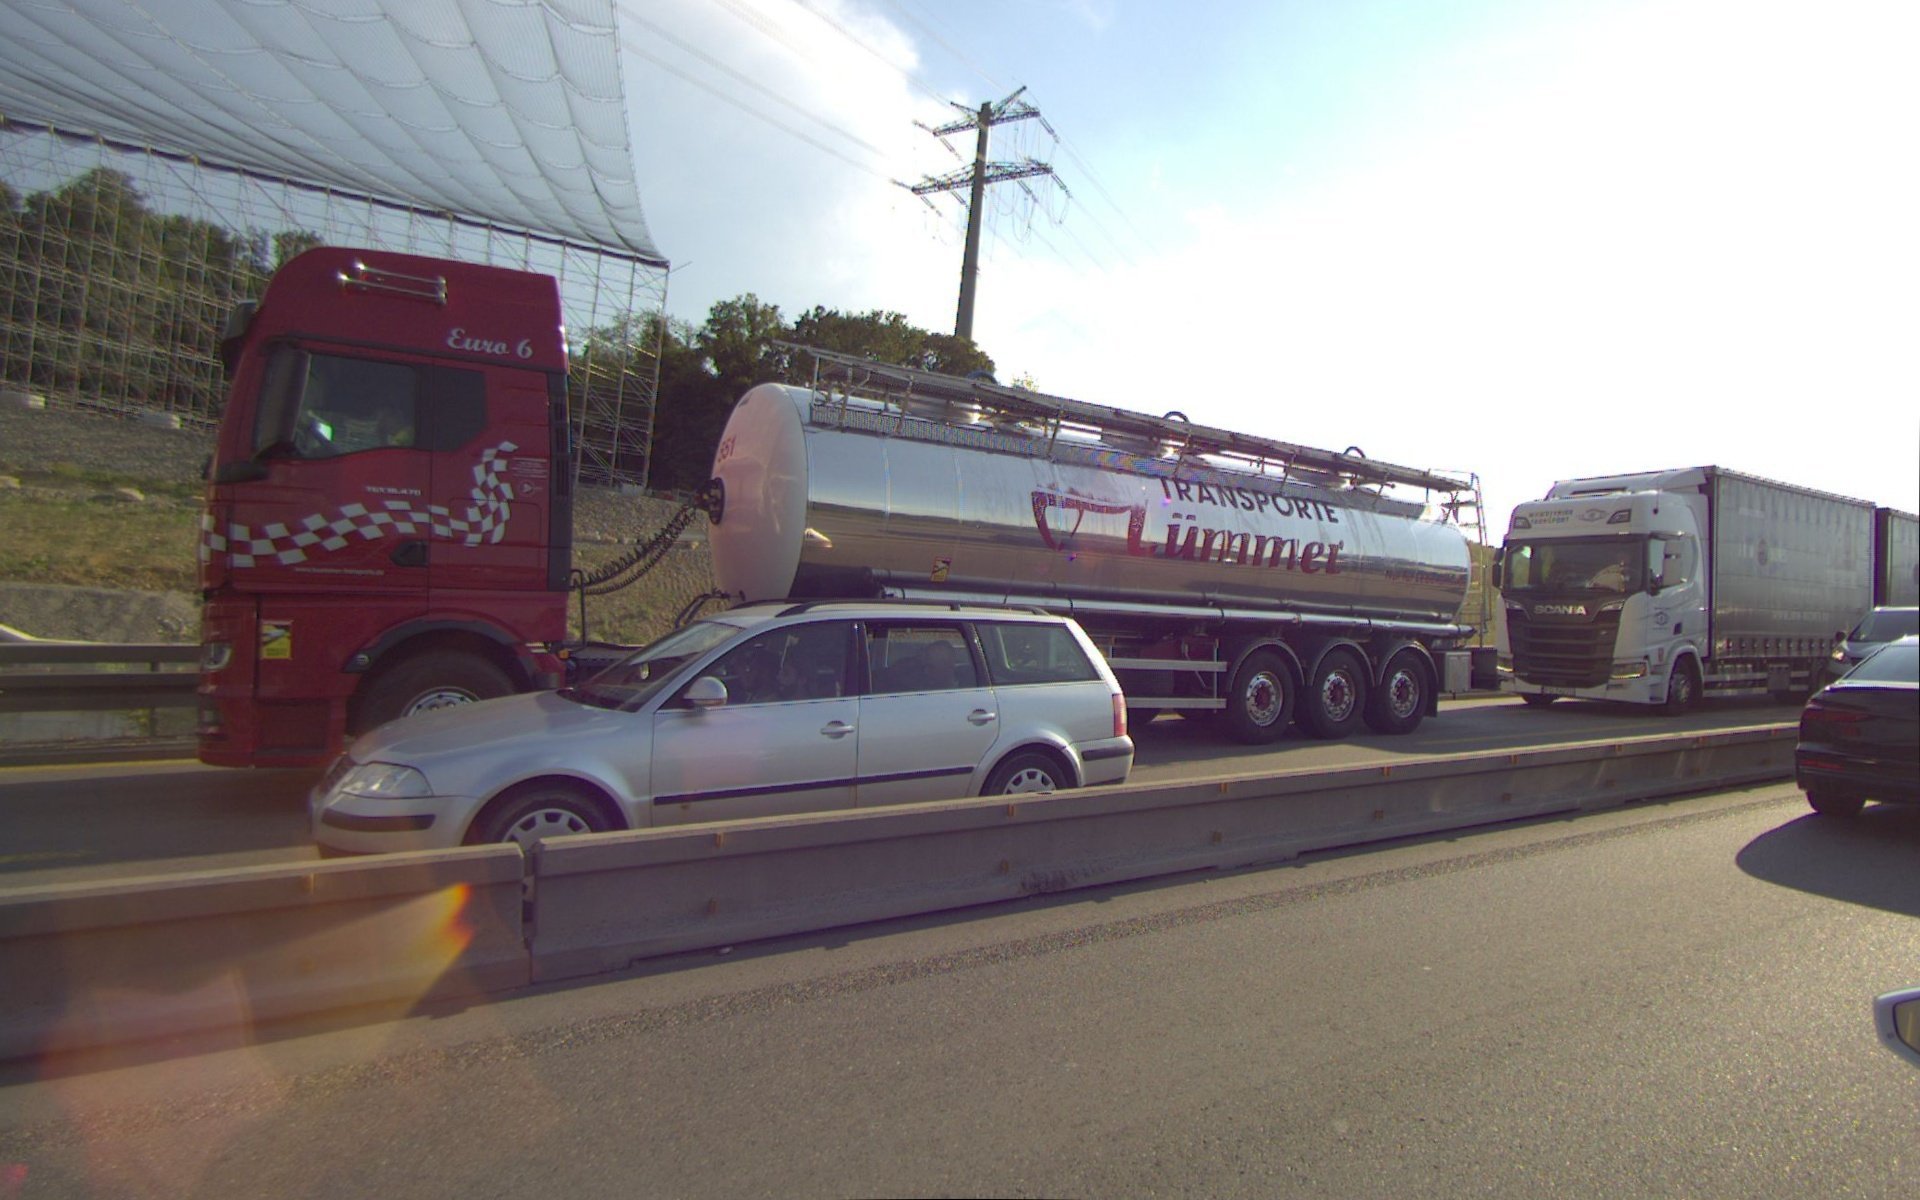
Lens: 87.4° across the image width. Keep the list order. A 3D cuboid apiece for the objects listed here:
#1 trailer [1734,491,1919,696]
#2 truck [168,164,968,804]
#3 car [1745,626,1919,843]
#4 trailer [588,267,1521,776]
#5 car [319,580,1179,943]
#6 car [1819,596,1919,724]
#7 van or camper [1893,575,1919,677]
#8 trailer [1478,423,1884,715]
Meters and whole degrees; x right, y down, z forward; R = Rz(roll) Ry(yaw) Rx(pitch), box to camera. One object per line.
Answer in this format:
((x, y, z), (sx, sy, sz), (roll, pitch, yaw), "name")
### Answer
((21.779, -0.006, 24.105), (8.454, 4.244, 2.428), (2, -1, -34), "trailer")
((-2.953, -0.614, 8.531), (5.555, 3.835, 2.419), (2, 0, -32), "truck")
((8.481, 0.968, 8.035), (4.906, 1.417, 1.924), (2, 0, -32), "car")
((2.143, -0.408, 11.763), (11.921, 3.840, 2.294), (2, -1, -33), "trailer")
((-0.986, 0.712, 5.907), (4.605, 1.445, 1.619), (2, -1, -32), "car")
((16.547, 0.999, 16.974), (4.785, 1.951, 1.806), (2, -1, -33), "car")
((31.129, 0.868, 30.511), (7.539, 2.930, 2.393), (2, -1, -34), "van or camper")
((13.948, -0.305, 18.936), (10.396, 4.386, 2.462), (2, -1, -32), "trailer")
